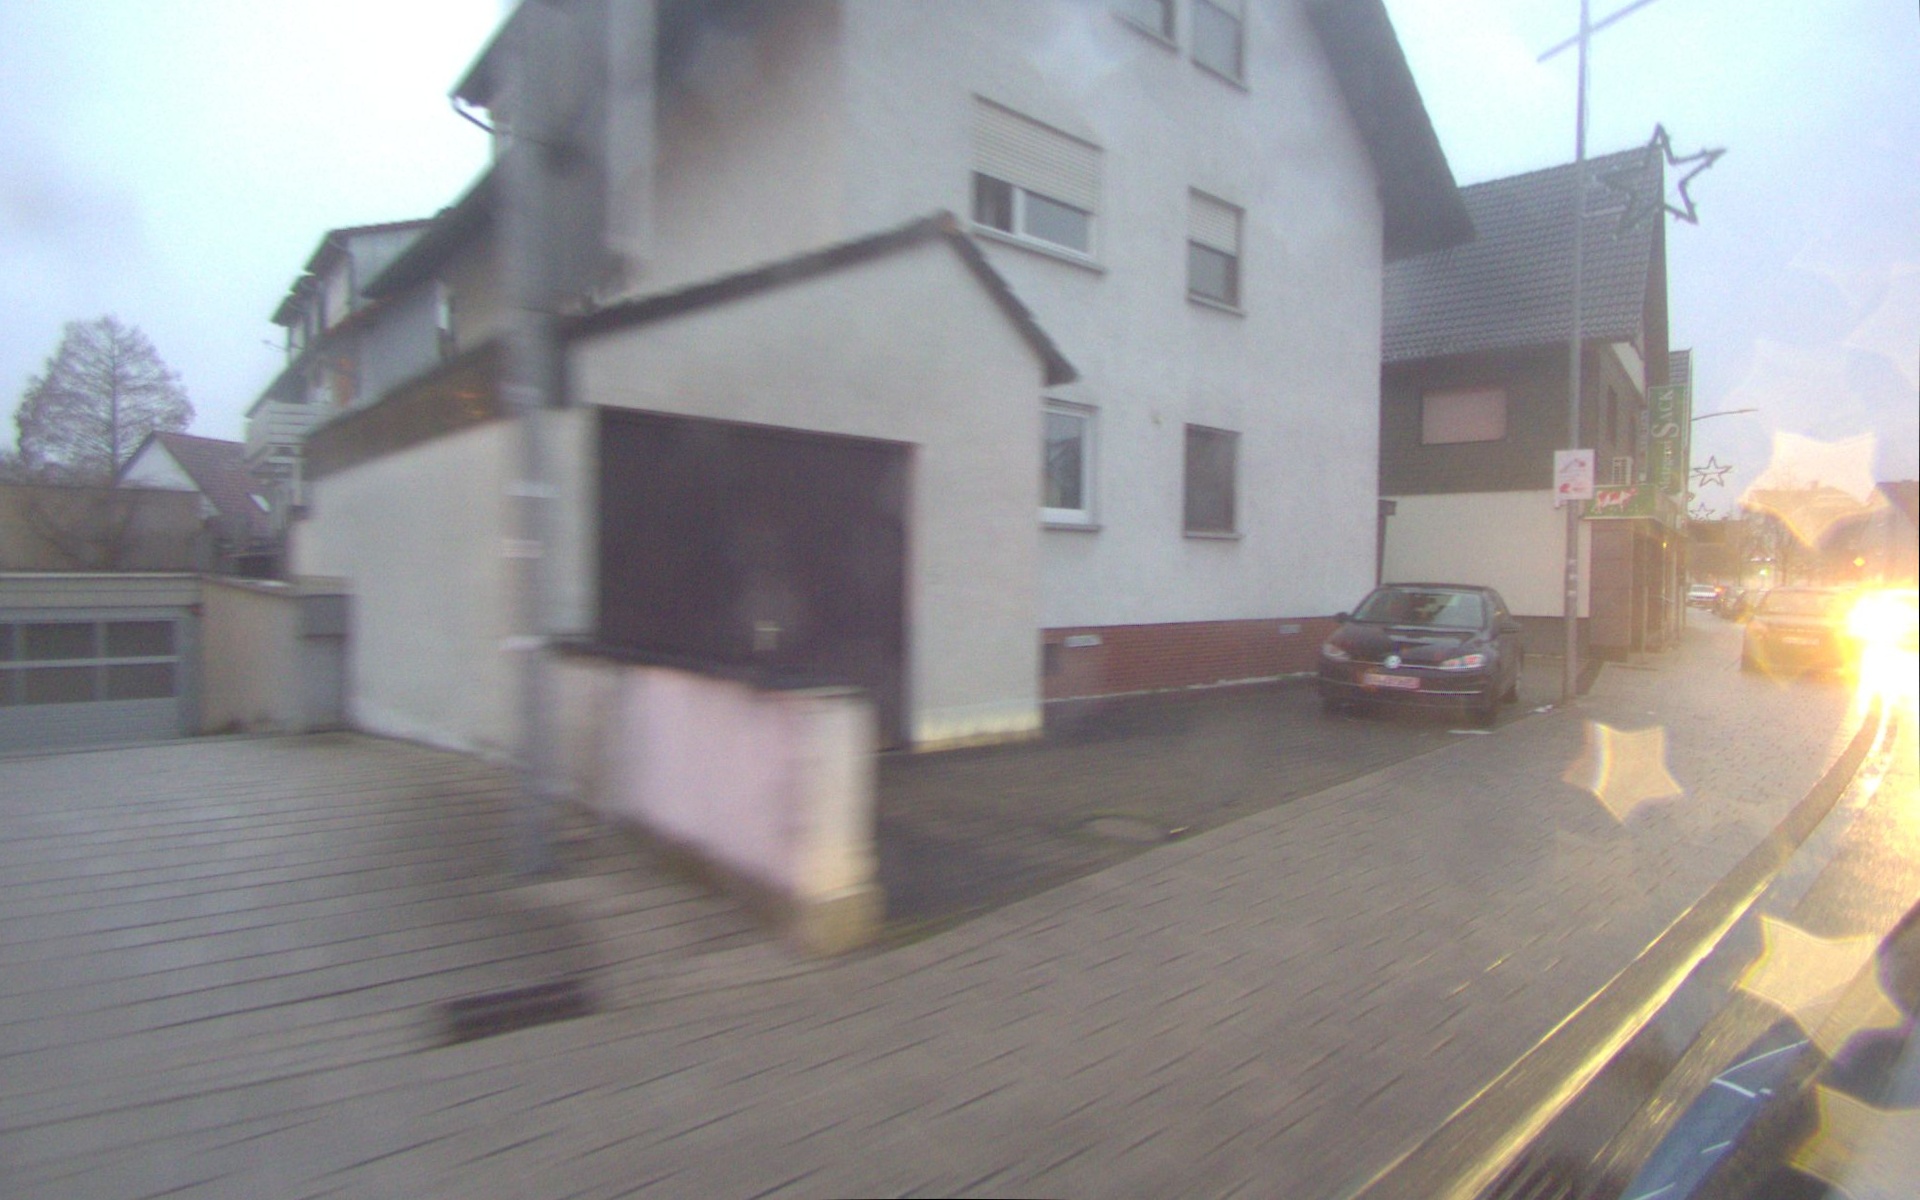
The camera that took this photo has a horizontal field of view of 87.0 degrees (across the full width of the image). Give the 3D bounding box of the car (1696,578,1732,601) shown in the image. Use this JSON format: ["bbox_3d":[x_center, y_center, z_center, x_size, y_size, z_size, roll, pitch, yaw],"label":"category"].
[{"bbox_3d":[55.461,-0.817,74.465,1.800,1.583,4.254,2,2,33],"label":"car"}]

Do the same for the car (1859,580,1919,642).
[{"bbox_3d":[28.383,0.346,30.076,1.895,1.662,4.505,-5,-6,36],"label":"car"}]

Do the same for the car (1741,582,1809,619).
[{"bbox_3d":[36.606,-0.015,45.556,1.949,1.552,4.948,-1,0,34],"label":"car"}]

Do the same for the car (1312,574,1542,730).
[{"bbox_3d":[5.547,0.445,11.761,1.760,1.410,3.866,4,3,34],"label":"car"}]

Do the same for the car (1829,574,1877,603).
[{"bbox_3d":[53.723,-0.711,60.927,1.656,1.656,3.508,1,1,33],"label":"car"}]

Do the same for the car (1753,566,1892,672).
[{"bbox_3d":[17.093,0.303,19.992,1.771,1.803,3.937,6,4,44],"label":"car"}]

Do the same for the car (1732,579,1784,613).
[{"bbox_3d":[40.334,-0.229,51.222,1.659,1.595,4.442,2,2,34],"label":"car"}]
